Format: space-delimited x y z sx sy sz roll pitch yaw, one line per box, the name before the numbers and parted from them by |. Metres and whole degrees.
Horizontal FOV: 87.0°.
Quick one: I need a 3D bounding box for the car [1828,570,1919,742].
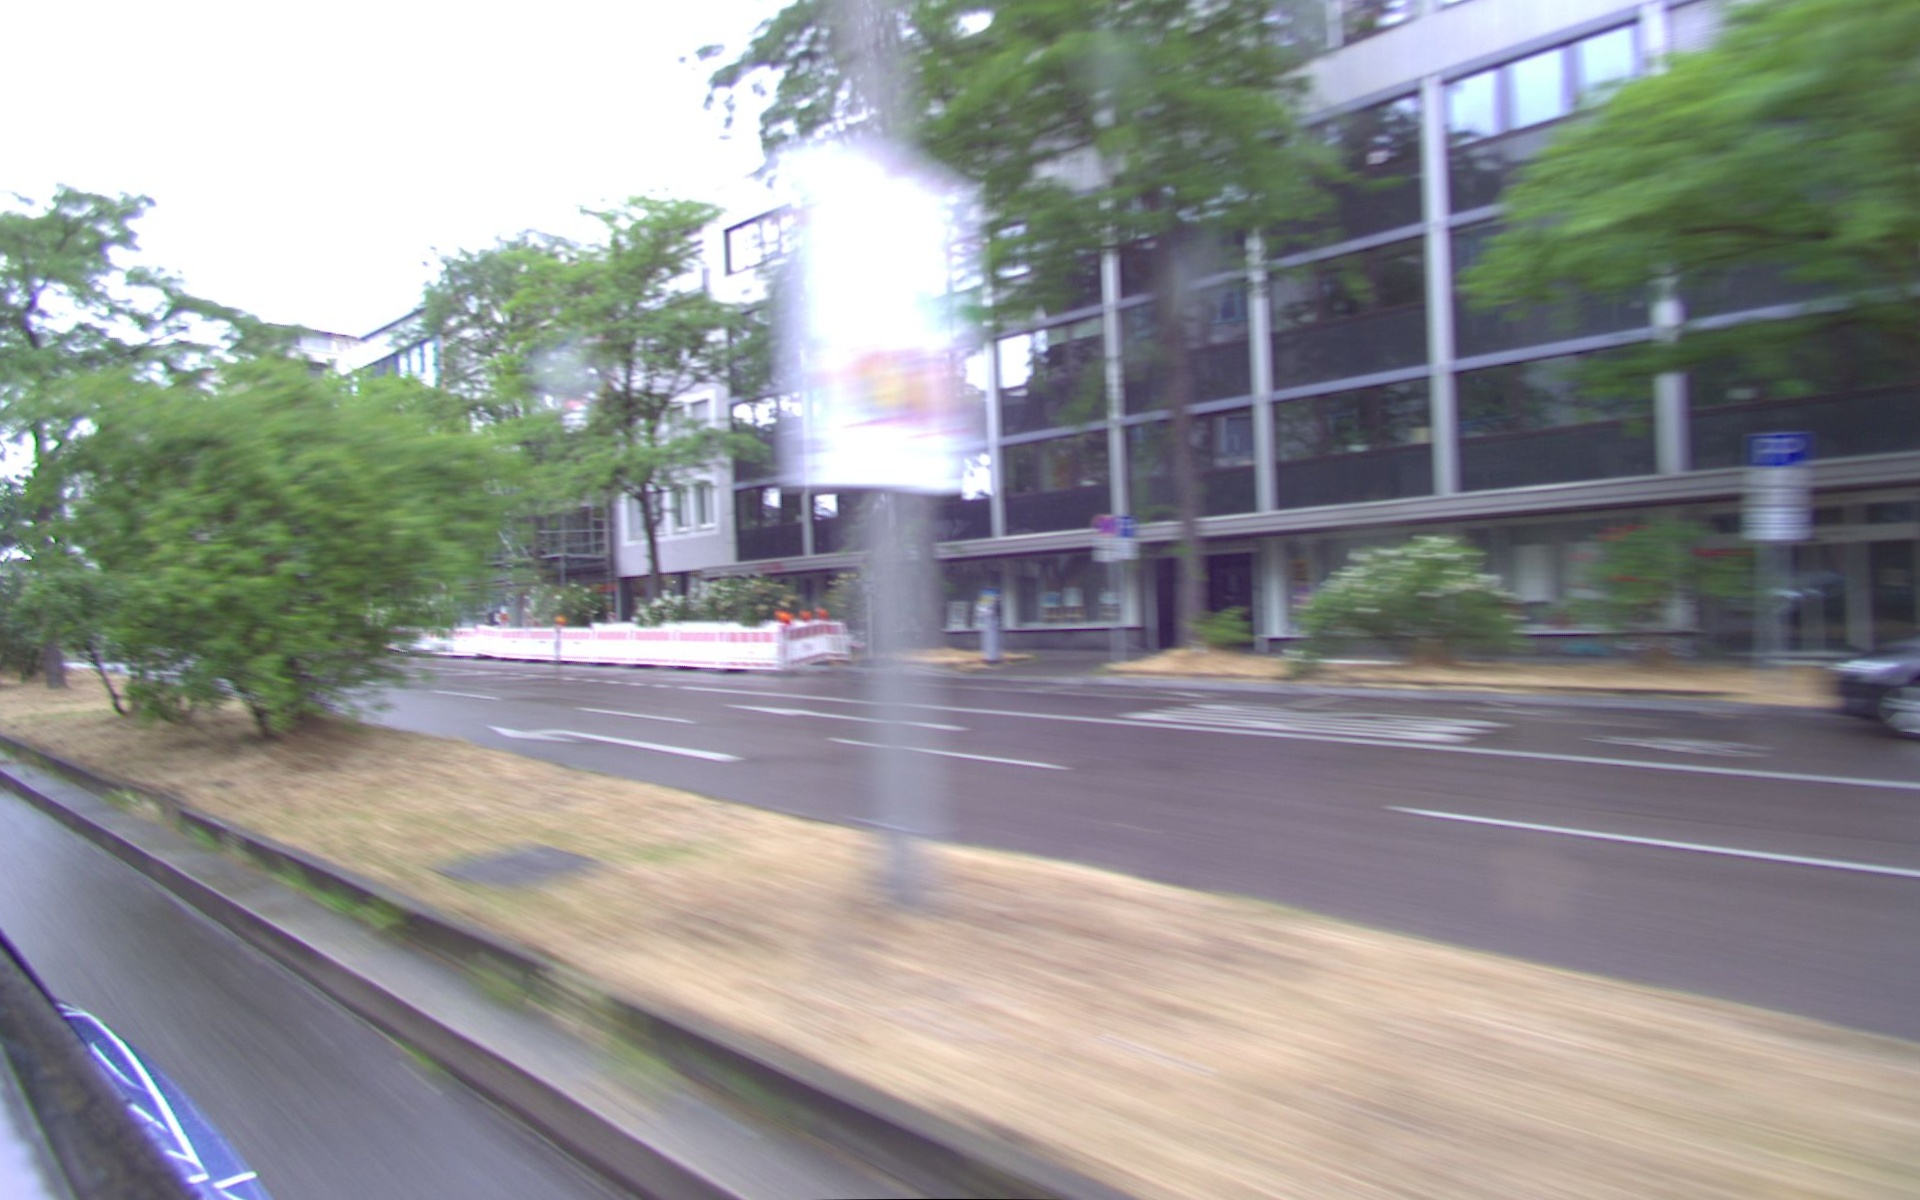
car | 10.767 0.508 9.436 4.022 1.648 1.760 -1 -1 41
